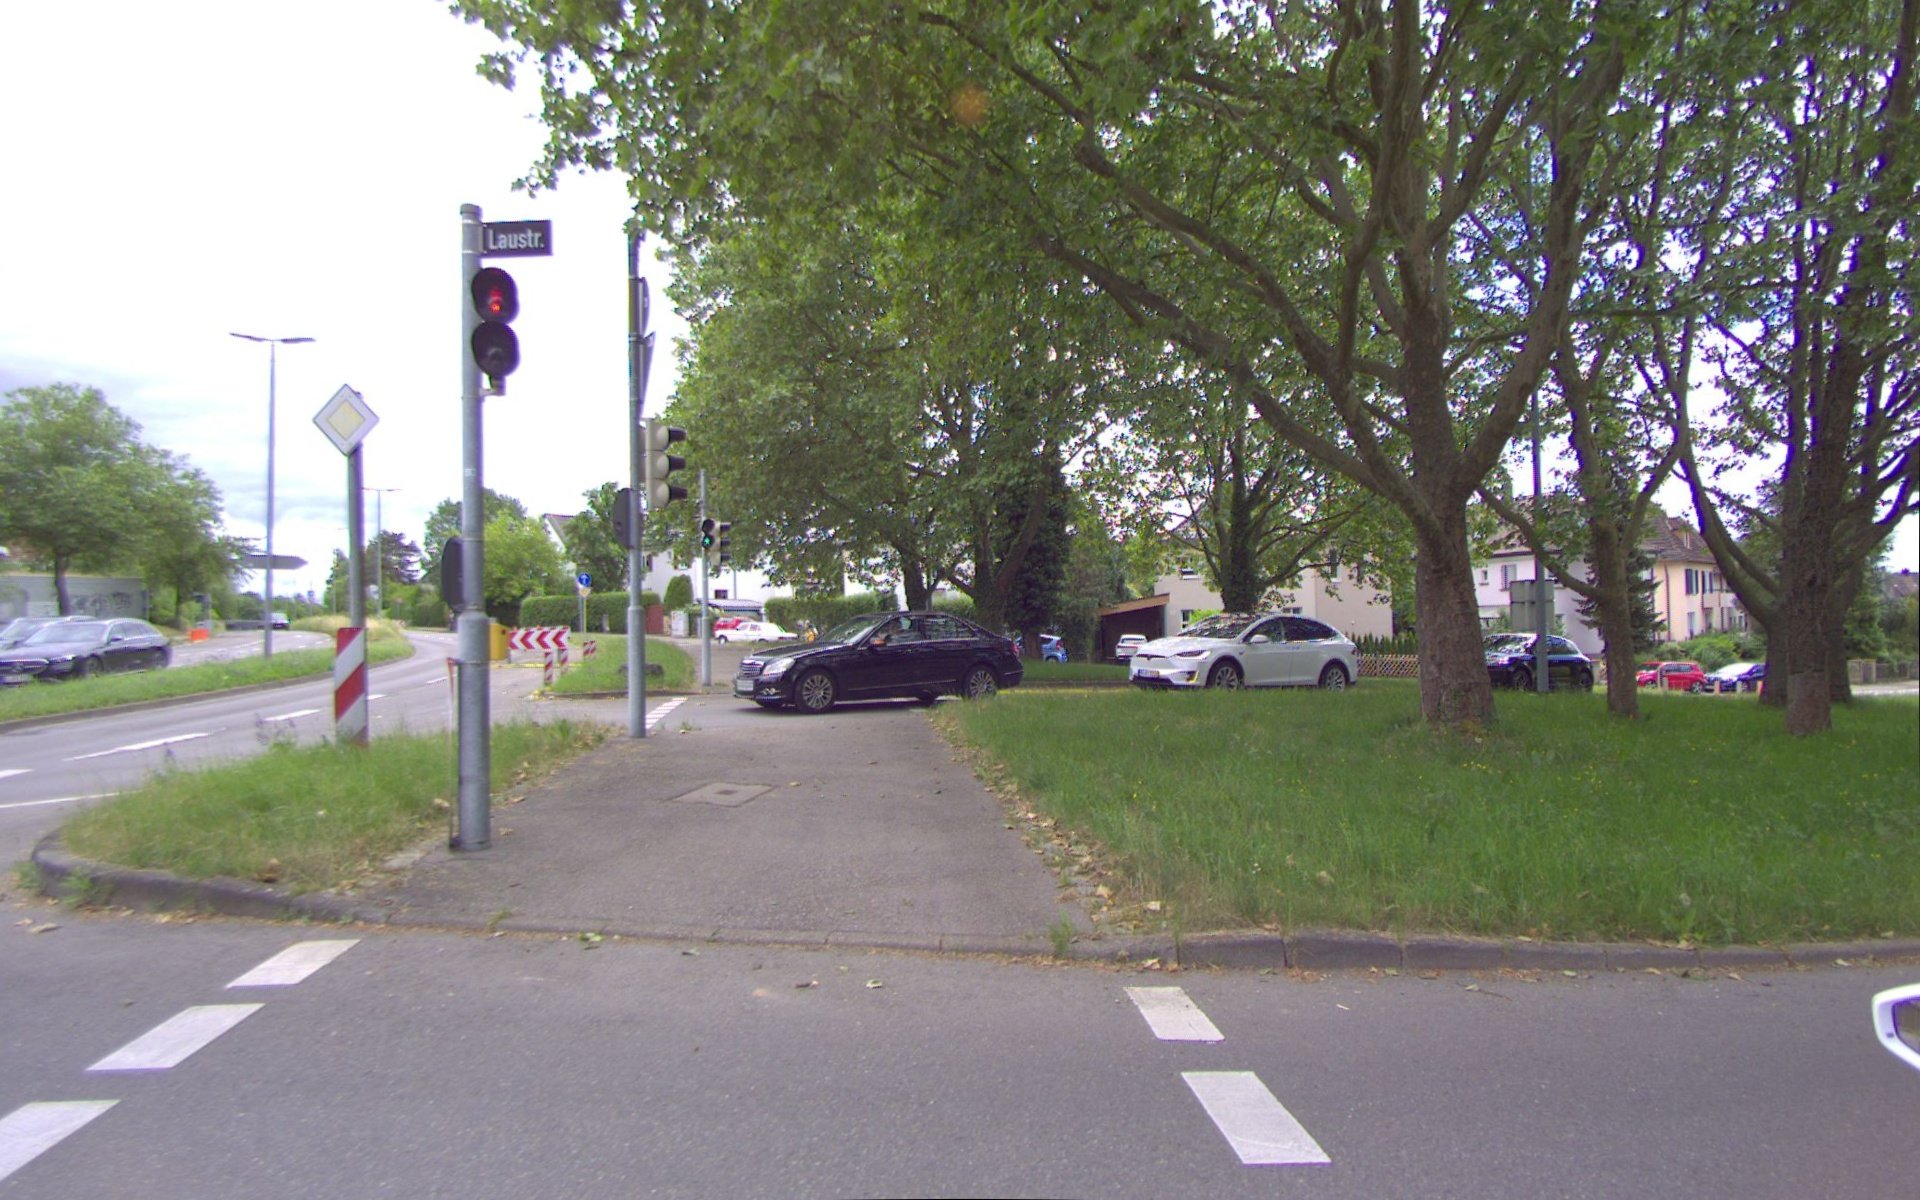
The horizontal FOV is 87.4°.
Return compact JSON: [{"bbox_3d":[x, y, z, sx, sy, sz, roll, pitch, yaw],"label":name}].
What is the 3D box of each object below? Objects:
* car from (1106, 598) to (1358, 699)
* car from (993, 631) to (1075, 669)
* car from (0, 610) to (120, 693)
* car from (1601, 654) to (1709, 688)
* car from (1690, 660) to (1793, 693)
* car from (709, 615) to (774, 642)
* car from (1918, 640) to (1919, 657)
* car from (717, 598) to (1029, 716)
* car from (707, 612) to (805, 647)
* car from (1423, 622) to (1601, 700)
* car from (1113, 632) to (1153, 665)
[{"bbox_3d":[5.206,0.818,18.974,4.853,1.680,1.841,0,0,-33],"label":"car"},{"bbox_3d":[3.594,2.384,48.692,3.702,1.575,1.784,2,1,12],"label":"car"},{"bbox_3d":[-20.317,1.085,22.371,1.825,1.653,4.224,-2,0,-32],"label":"car"},{"bbox_3d":[32.506,3.324,47.017,4.203,1.493,1.730,1,-2,-11],"label":"car"},{"bbox_3d":[37.417,3.649,48.117,4.244,1.493,1.727,1,-2,-16],"label":"car"},{"bbox_3d":[-13.320,1.744,61.518,1.583,1.537,3.813,0,-2,35],"label":"car"},{"bbox_3d":[103.963,5.184,106.637,1.733,1.820,4.946,-1,-2,24],"label":"car"},{"bbox_3d":[-1.231,0.833,15.034,4.339,1.537,1.747,2,-2,-33],"label":"car"},{"bbox_3d":[-10.984,1.571,54.081,4.793,1.815,2.214,-1,-1,27],"label":"car"},{"bbox_3d":[13.118,1.366,23.797,4.562,1.612,1.747,0,-1,-33],"label":"car"},{"bbox_3d":[9.050,2.491,52.407,1.838,1.568,3.381,-1,-1,14],"label":"car"}]
